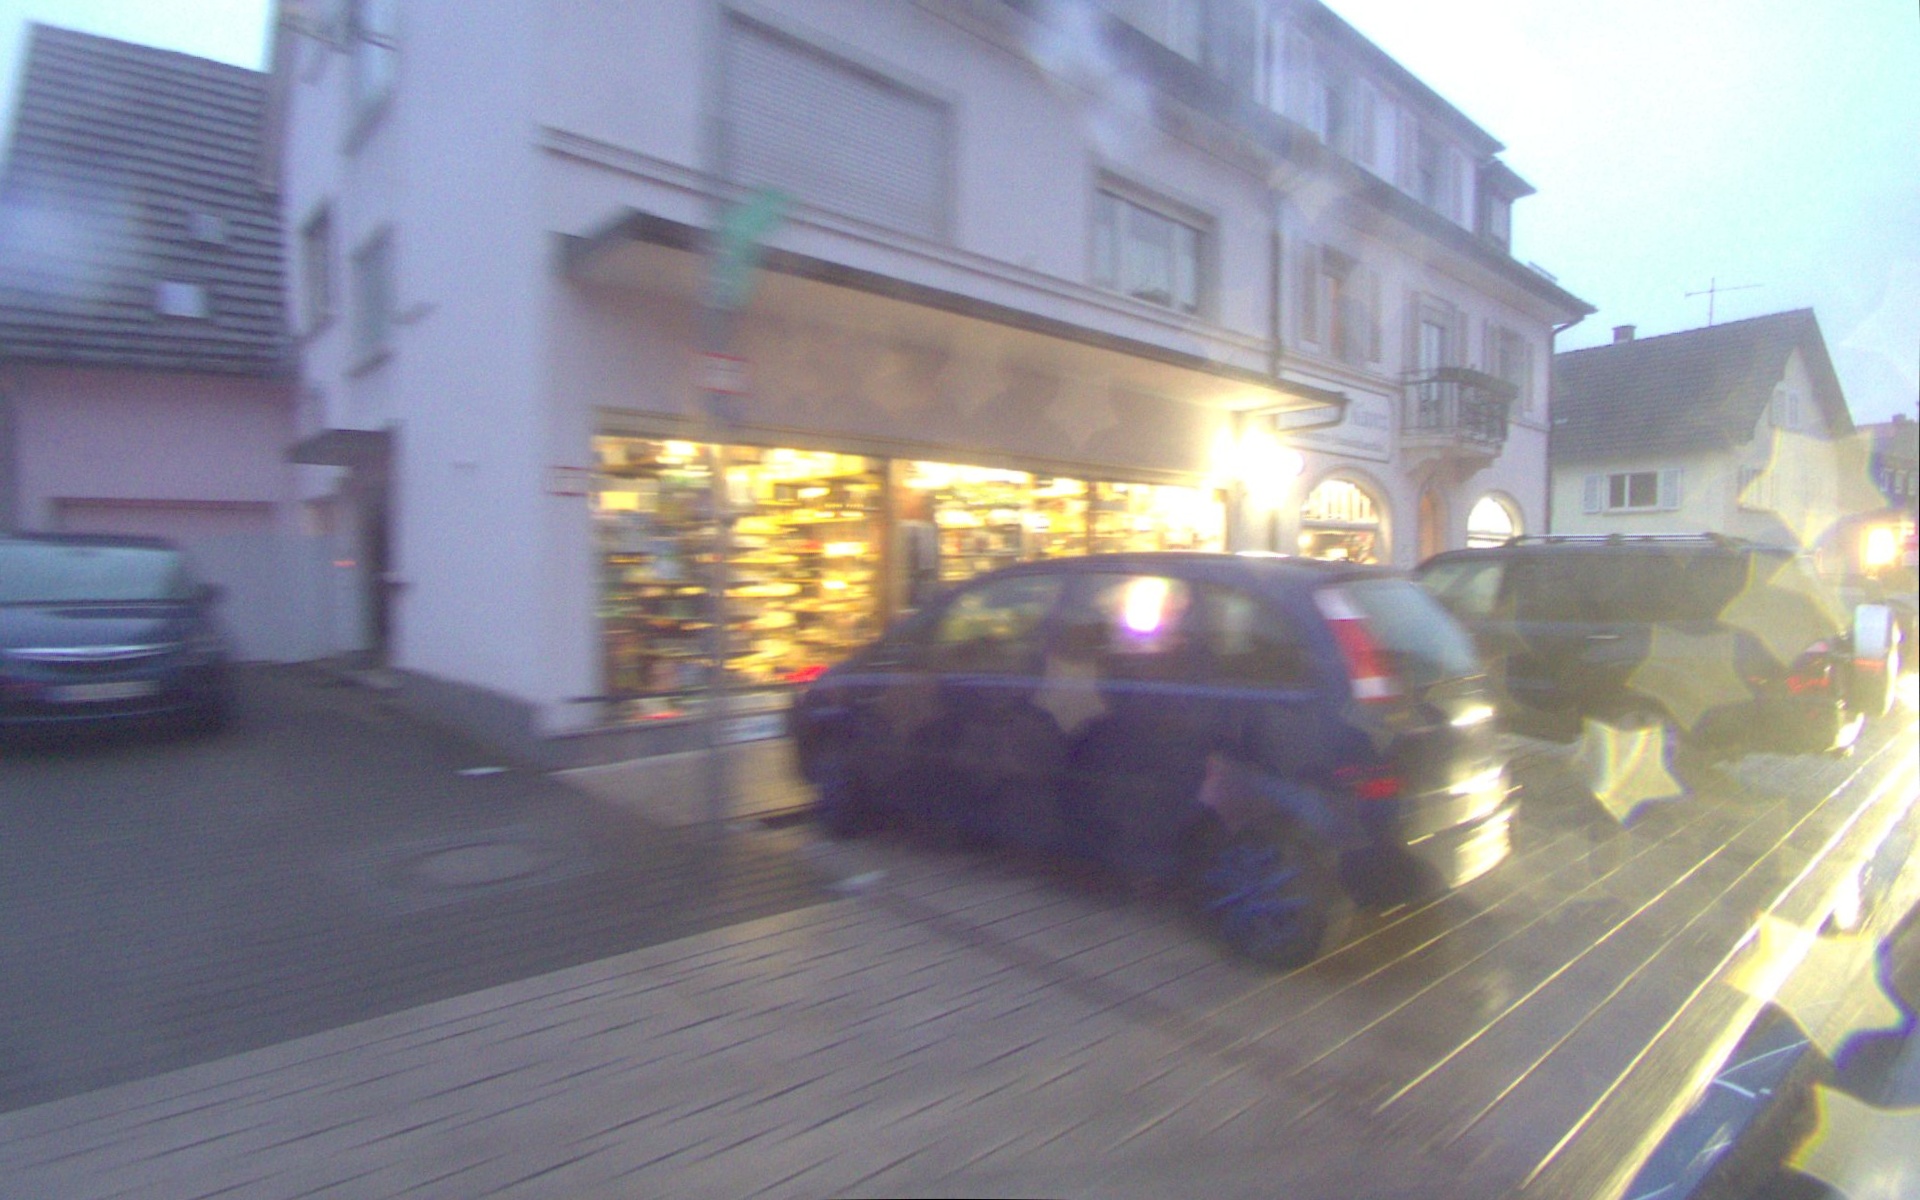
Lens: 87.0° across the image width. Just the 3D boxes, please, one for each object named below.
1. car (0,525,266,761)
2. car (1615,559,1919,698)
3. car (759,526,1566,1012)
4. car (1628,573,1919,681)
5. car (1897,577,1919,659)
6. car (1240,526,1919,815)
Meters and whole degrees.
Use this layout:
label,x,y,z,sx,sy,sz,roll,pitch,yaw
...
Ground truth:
label,x,y,z,sx,sy,sz,roll,pitch,yaw
car,-7.379,0.216,8.679,1.965,1.590,3.995,-1,3,-40
car,11.809,0.315,14.722,1.688,1.701,3.507,0,3,-45
car,0.743,0.489,5.287,3.871,1.599,1.655,2,2,45
car,13.916,0.377,16.694,1.865,1.491,4.476,0,3,-41
car,20.652,0.370,20.373,4.586,1.566,1.888,0,2,-38
car,4.952,0.362,8.613,1.913,1.798,4.607,0,2,-44
